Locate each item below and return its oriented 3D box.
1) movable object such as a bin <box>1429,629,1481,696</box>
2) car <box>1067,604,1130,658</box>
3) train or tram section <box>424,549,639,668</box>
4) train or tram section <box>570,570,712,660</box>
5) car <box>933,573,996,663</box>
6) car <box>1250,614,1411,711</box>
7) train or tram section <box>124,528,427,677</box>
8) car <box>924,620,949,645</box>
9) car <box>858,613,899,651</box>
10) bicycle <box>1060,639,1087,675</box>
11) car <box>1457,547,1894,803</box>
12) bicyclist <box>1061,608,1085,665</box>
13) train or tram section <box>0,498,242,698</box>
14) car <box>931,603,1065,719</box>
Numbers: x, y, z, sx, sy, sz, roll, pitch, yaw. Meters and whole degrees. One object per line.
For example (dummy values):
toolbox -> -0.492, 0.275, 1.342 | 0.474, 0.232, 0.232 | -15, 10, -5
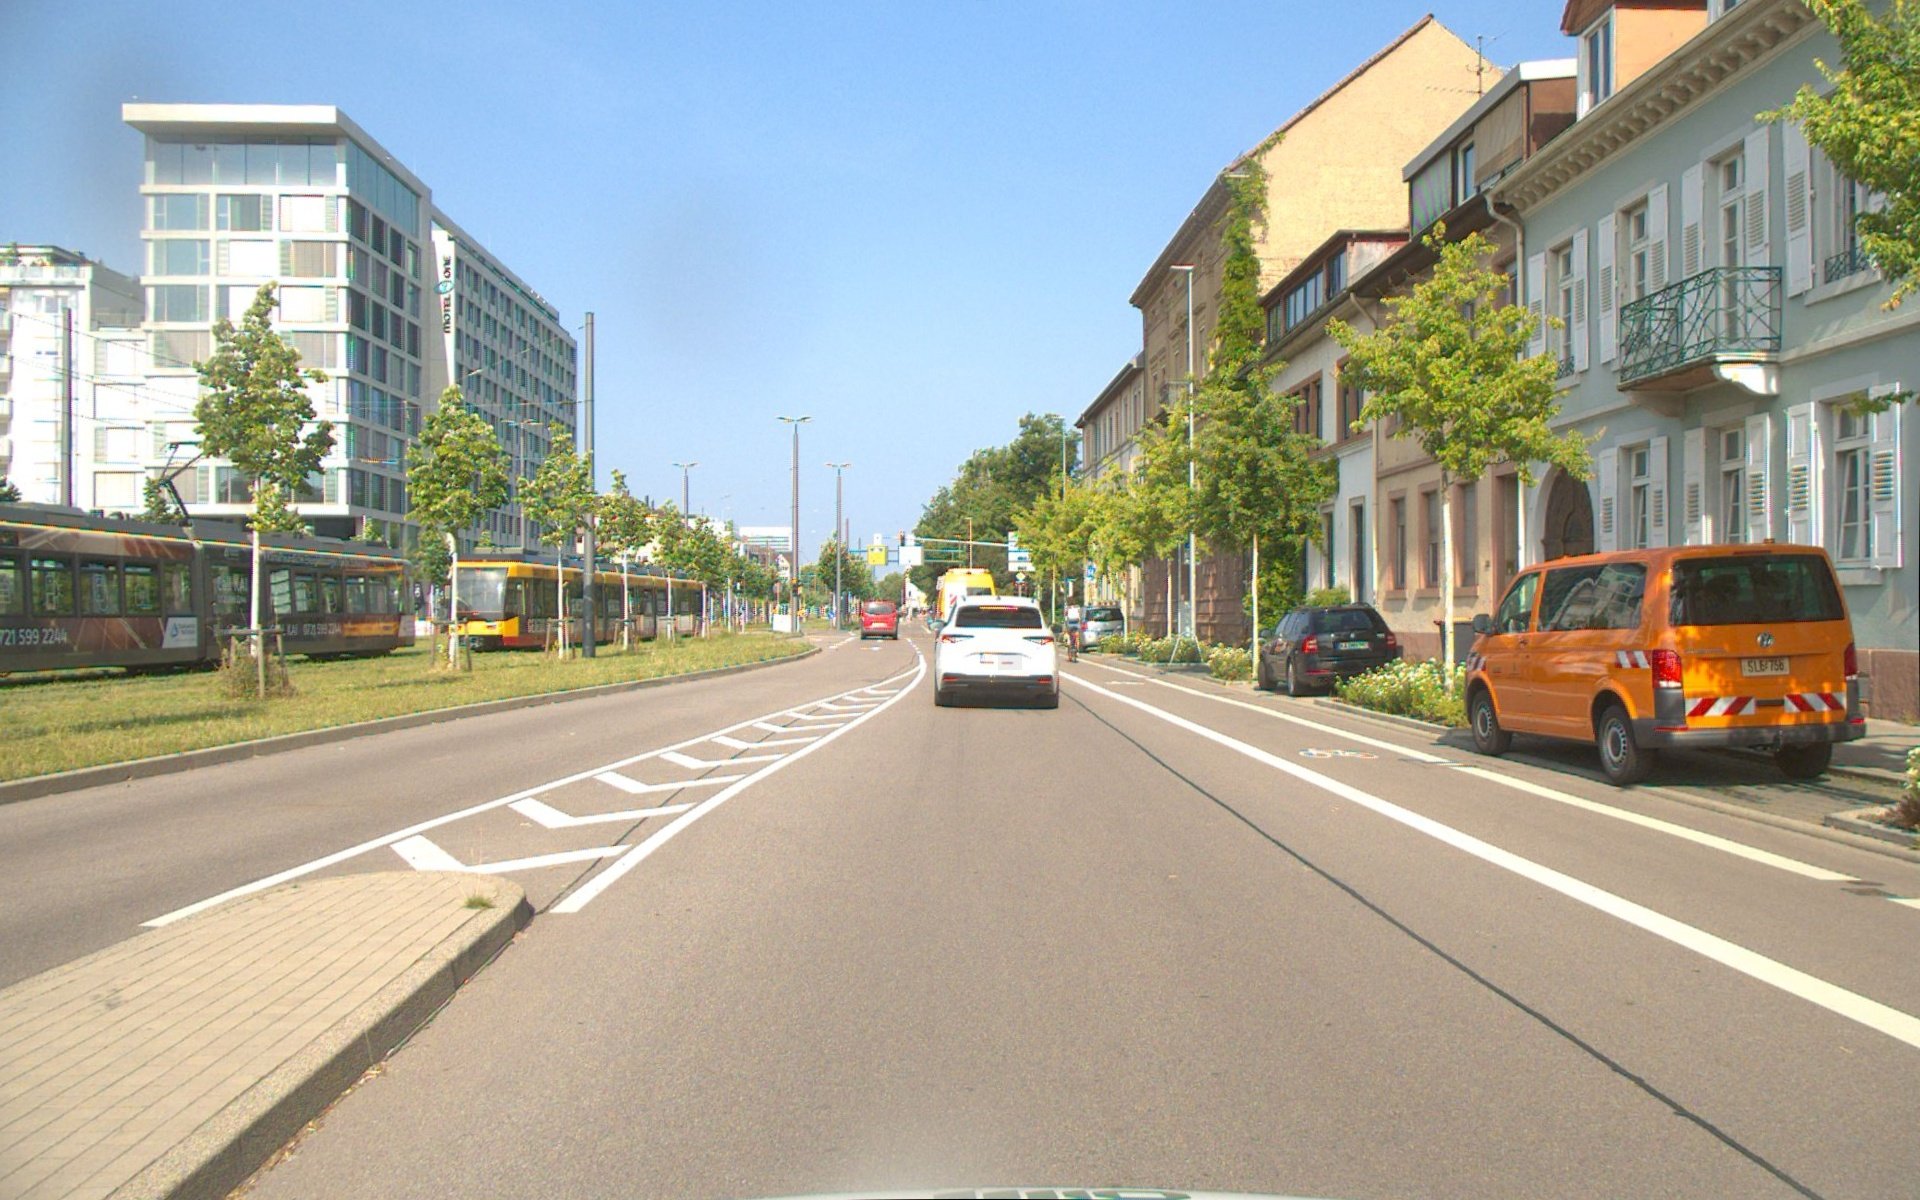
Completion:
movable object such as a bin -> 9.319, 1.167, 31.153 | 0.725, 1.221, 0.773 | 1, -1, -3
car -> 4.868, 1.069, 58.599 | 1.776, 1.844, 3.834 | 1, -1, -2
train or tram section -> -15.534, 0.462, 62.238 | 2.846, 3.741, 18.137 | 2, -1, 1
train or tram section -> -15.131, 0.838, 80.442 | 2.846, 3.772, 18.290 | 2, -1, 1
car -> 0.113, 0.539, 55.920 | 1.979, 2.844, 5.399 | 0, 1, -2
car -> 6.274, 1.040, 28.487 | 1.640, 1.509, 4.310 | -1, -1, -2
train or tram section -> -18.846, 0.140, 47.036 | 2.822, 3.599, 13.608 | 0, -1, 0
car -> -1.811, 2.492, 126.999 | 1.891, 1.853, 3.999 | 0, -1, -1
car -> -4.097, 1.594, 83.566 | 1.891, 1.853, 3.999 | 0, -1, -1
bicycle -> 3.186, 1.597, 46.542 | 0.642, 0.955, 1.517 | 0, -1, 0
car -> 6.446, 0.611, 15.590 | 2.021, 2.049, 4.586 | 0, 0, -2
bicyclist -> 3.182, 1.027, 46.625 | 0.626, 1.605, 0.771 | 0, -1, 0
train or tram section -> -18.758, -0.004, 32.750 | 2.802, 3.599, 14.893 | 0, -1, -1
car -> 0.493, 0.873, 24.951 | 1.832, 1.602, 3.998 | 0, -1, -2
